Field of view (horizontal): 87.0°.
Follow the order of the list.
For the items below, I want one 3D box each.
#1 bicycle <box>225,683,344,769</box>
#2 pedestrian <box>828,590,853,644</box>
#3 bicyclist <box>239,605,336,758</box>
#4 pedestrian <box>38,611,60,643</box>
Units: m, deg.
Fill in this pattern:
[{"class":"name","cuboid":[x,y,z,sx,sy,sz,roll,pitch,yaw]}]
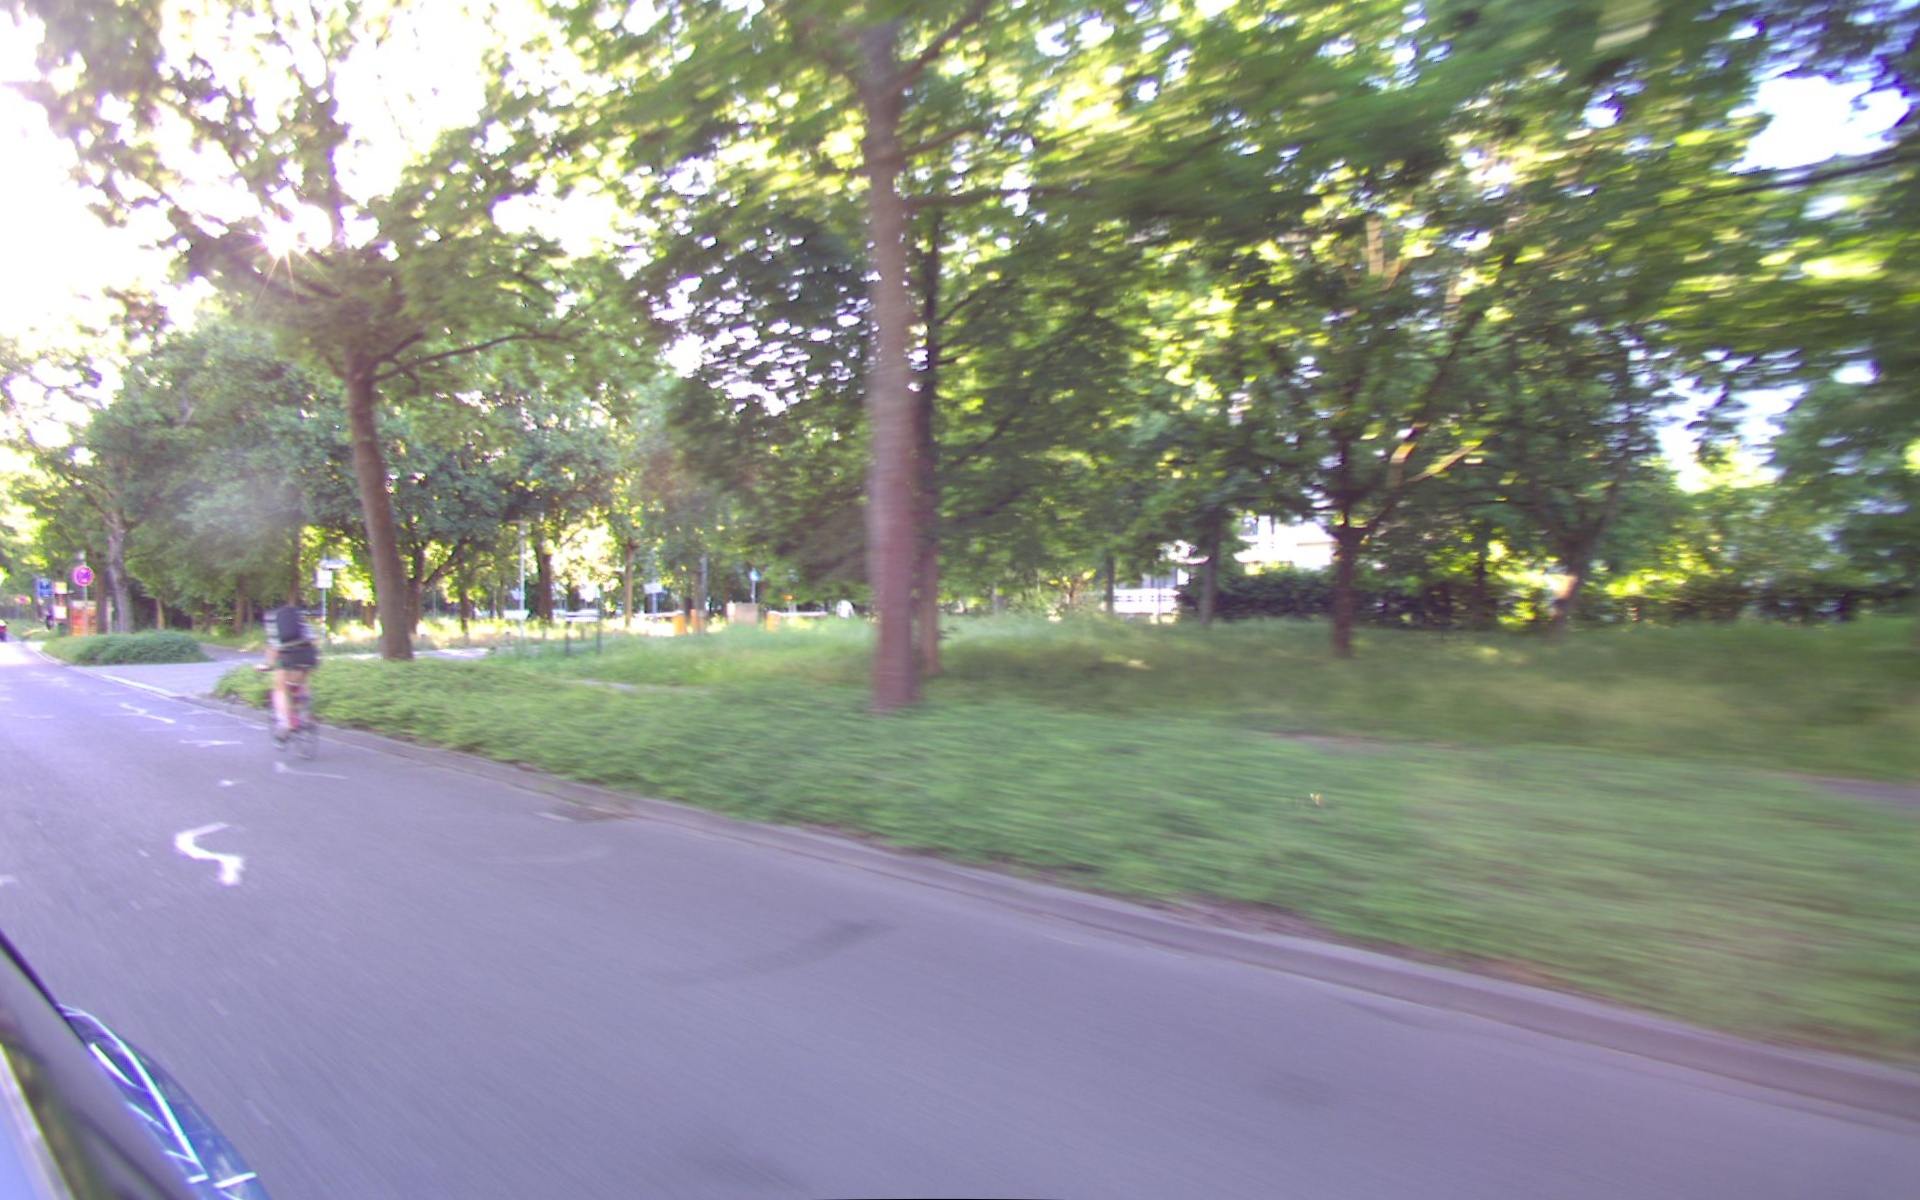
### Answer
[{"class":"bicycle","cuboid":[-7.396,1.334,11.036,2.126,0.747,0.631,-1,-3,44]},{"class":"pedestrian","cuboid":[-4.555,0.648,38.549,0.590,2.029,0.748,-1,0,43]},{"class":"bicyclist","cuboid":[-7.282,0.849,10.951,1.002,1.567,0.626,-1,-3,43]},{"class":"pedestrian","cuboid":[-51.882,1.530,57.627,0.892,1.835,0.721,0,-1,-43]}]
